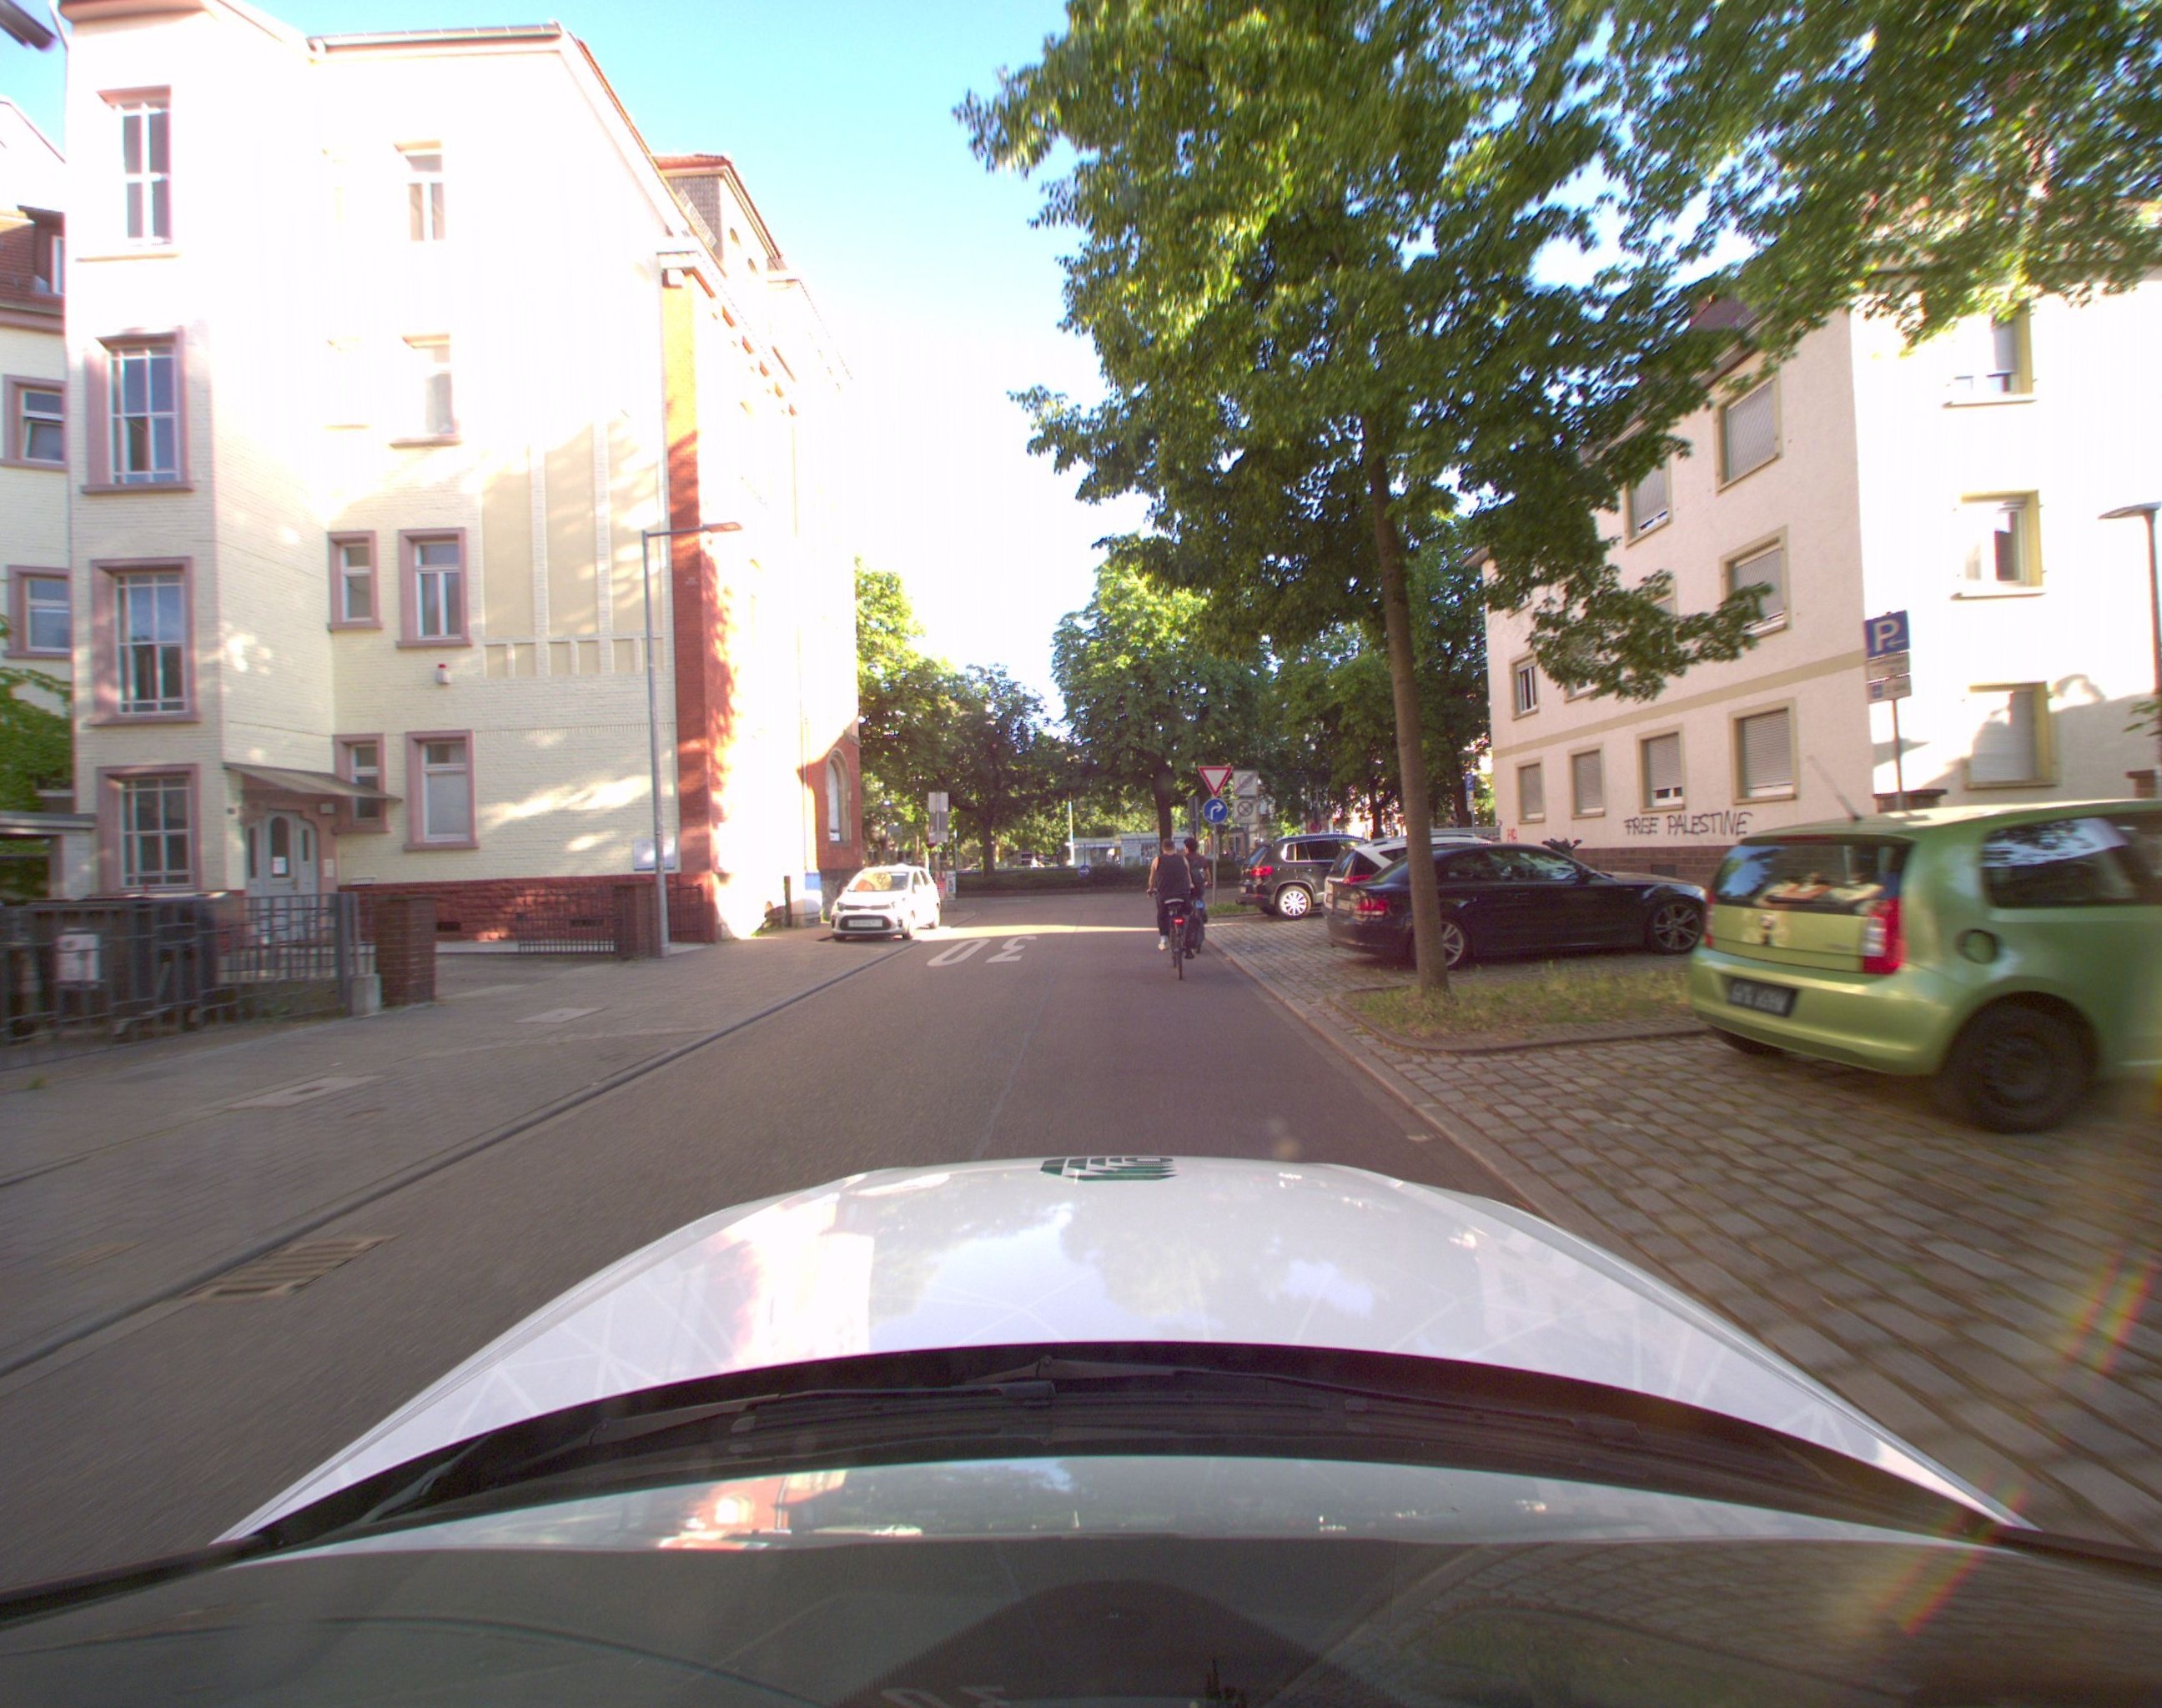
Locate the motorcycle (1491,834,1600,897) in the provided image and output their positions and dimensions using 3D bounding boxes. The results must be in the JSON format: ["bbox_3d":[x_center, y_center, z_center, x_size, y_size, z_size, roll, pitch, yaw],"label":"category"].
[{"bbox_3d":[10.350,0.241,18.256,0.974,1.280,2.177,-3,0,-7],"label":"motorcycle"}]

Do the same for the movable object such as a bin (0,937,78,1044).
[{"bbox_3d":[-9.572,1.216,7.233,0.477,0.879,0.675,-2,0,11],"label":"movable object such as a bin"}]

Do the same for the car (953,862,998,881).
[{"bbox_3d":[-10.256,1.691,79.290,3.971,1.679,1.930,-2,0,-42],"label":"car"}]

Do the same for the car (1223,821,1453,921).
[{"bbox_3d":[5.265,0.328,17.065,4.097,1.712,2.022,-4,0,-3],"label":"car"}]

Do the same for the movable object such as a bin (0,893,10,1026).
[{"bbox_3d":[-11.453,1.075,7.787,1.378,1.317,0.685,-2,-1,-6],"label":"movable object such as a bin"}]

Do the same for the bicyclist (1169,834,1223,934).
[{"bbox_3d":[1.832,0.470,13.096,0.669,1.514,1.069,-3,-2,1],"label":"bicyclist"}]

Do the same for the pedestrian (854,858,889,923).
[{"bbox_3d":[-5.371,0.910,20.890,0.598,1.605,0.855,-3,-1,1],"label":"pedestrian"}]

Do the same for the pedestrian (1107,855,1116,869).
[{"bbox_3d":[3.743,0.967,98.640,0.997,1.630,1.064,-2,-1,0],"label":"pedestrian"}]

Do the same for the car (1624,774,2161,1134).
[{"bbox_3d":[5.337,0.362,4.420,3.575,1.505,1.679,-4,0,2],"label":"car"}]

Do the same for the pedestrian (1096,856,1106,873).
[{"bbox_3d":[1.831,0.987,74.039,0.809,1.543,0.818,0,-1,-10],"label":"pedestrian"}]

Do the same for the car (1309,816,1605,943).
[{"bbox_3d":[5.519,0.375,12.354,3.676,1.651,1.706,-2,0,5],"label":"car"}]

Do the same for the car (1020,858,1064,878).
[{"bbox_3d":[-3.972,1.463,83.321,4.006,1.870,1.984,-2,0,-24],"label":"car"}]

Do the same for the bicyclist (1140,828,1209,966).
[{"bbox_3d":[1.196,0.539,10.595,0.749,1.682,0.913,-3,-1,1],"label":"bicyclist"}]

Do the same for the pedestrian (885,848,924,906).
[{"bbox_3d":[-5.185,0.677,23.990,0.864,1.643,0.861,-2,-1,1],"label":"pedestrian"}]

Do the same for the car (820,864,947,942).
[{"bbox_3d":[-4.134,0.971,17.655,1.698,1.485,3.799,0,0,2],"label":"car"}]

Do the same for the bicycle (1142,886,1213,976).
[{"bbox_3d":[1.219,0.953,10.646,0.735,1.012,2.062,0,-1,2],"label":"bicycle"}]

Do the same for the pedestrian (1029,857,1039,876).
[{"bbox_3d":[-4.147,1.085,71.595,0.704,1.695,0.666,0,-1,-20],"label":"pedestrian"}]

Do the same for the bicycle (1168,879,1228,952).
[{"bbox_3d":[1.862,0.956,13.235,0.671,1.054,2.061,-2,-2,1],"label":"bicycle"}]

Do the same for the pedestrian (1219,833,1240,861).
[{"bbox_3d":[8.936,-0.420,49.042,0.887,1.684,0.825,-3,-1,35],"label":"pedestrian"}]

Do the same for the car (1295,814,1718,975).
[{"bbox_3d":[4.897,0.456,9.838,4.090,1.411,1.793,-5,-1,1],"label":"car"}]

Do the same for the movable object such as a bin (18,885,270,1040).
[{"bbox_3d":[-8.728,0.977,7.632,1.367,1.299,0.971,-2,0,11],"label":"movable object such as a bin"}]
